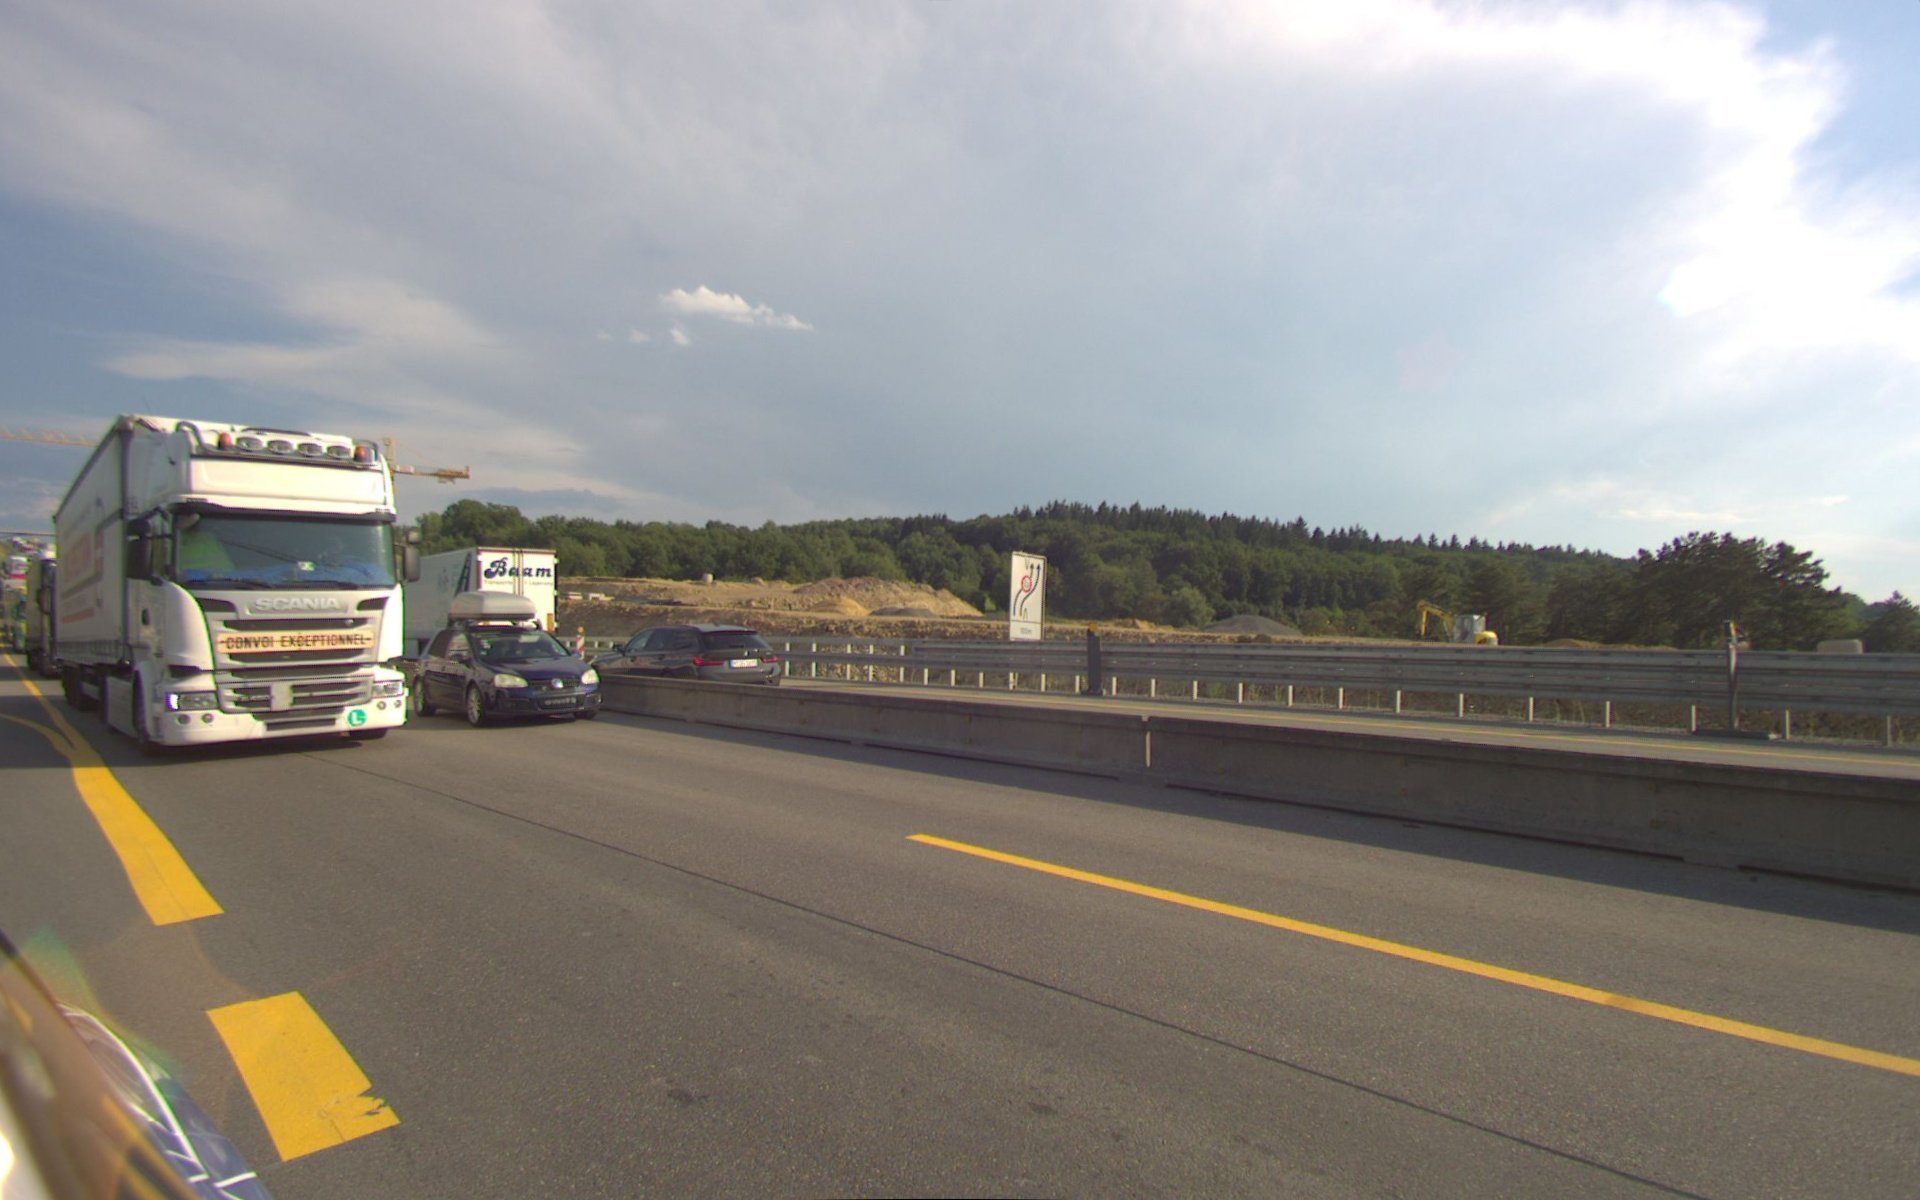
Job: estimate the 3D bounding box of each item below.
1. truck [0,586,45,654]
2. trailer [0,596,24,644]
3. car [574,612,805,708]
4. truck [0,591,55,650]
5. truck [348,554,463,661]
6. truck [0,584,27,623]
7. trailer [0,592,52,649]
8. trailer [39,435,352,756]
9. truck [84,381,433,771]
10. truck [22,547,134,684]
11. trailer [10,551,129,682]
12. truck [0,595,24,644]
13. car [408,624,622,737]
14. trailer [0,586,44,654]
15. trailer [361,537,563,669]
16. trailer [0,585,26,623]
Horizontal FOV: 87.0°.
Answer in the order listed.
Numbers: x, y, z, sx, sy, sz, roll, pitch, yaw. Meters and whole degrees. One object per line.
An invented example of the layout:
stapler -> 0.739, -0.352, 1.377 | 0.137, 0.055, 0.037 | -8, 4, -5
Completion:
truck -> -56.977, 1.200, 61.033 | 2.451, 3.931, 6.017 | 2, -2, -43
trailer -> -93.168, 1.941, 98.231 | 3.066, 4.347, 14.266 | 4, -4, -43
car -> -4.919, 1.015, 18.004 | 1.970, 1.476, 4.539 | 4, -4, -44
truck -> -72.795, 1.635, 78.824 | 3.066, 4.347, 6.903 | 4, -4, -43
truck -> -23.150, 0.388, 42.099 | 2.596, 4.097, 6.136 | 4, -4, -43
truck -> -112.001, 0.440, 119.024 | 3.066, 4.347, 6.903 | 4, -4, -43
trailer -> -78.110, 1.753, 84.441 | 3.066, 4.347, 14.266 | 4, -4, -43
trailer -> -14.168, 0.060, 17.966 | 13.637, 3.908, 2.452 | -1, -2, 45
truck -> -9.269, -0.178, 13.096 | 6.012, 3.908, 2.453 | -1, -2, 43
truck -> -29.057, 0.525, 33.269 | 2.451, 4.091, 6.017 | 2, -2, -43
trailer -> -33.209, 0.635, 37.469 | 2.452, 4.092, 13.639 | 2, -2, -45
truck -> -88.149, 1.809, 92.841 | 3.066, 4.347, 6.903 | 4, -4, -43
car -> -6.911, 1.118, 15.524 | 1.799, 1.496, 3.923 | 1, -2, -43
trailer -> -61.165, 1.311, 65.461 | 2.451, 3.989, 13.988 | 2, -2, -43
trailer -> -18.917, 0.258, 37.576 | 2.596, 4.097, 14.093 | 4, -4, -43
trailer -> -118.059, 0.563, 125.428 | 3.066, 4.347, 14.266 | 4, -4, -43
